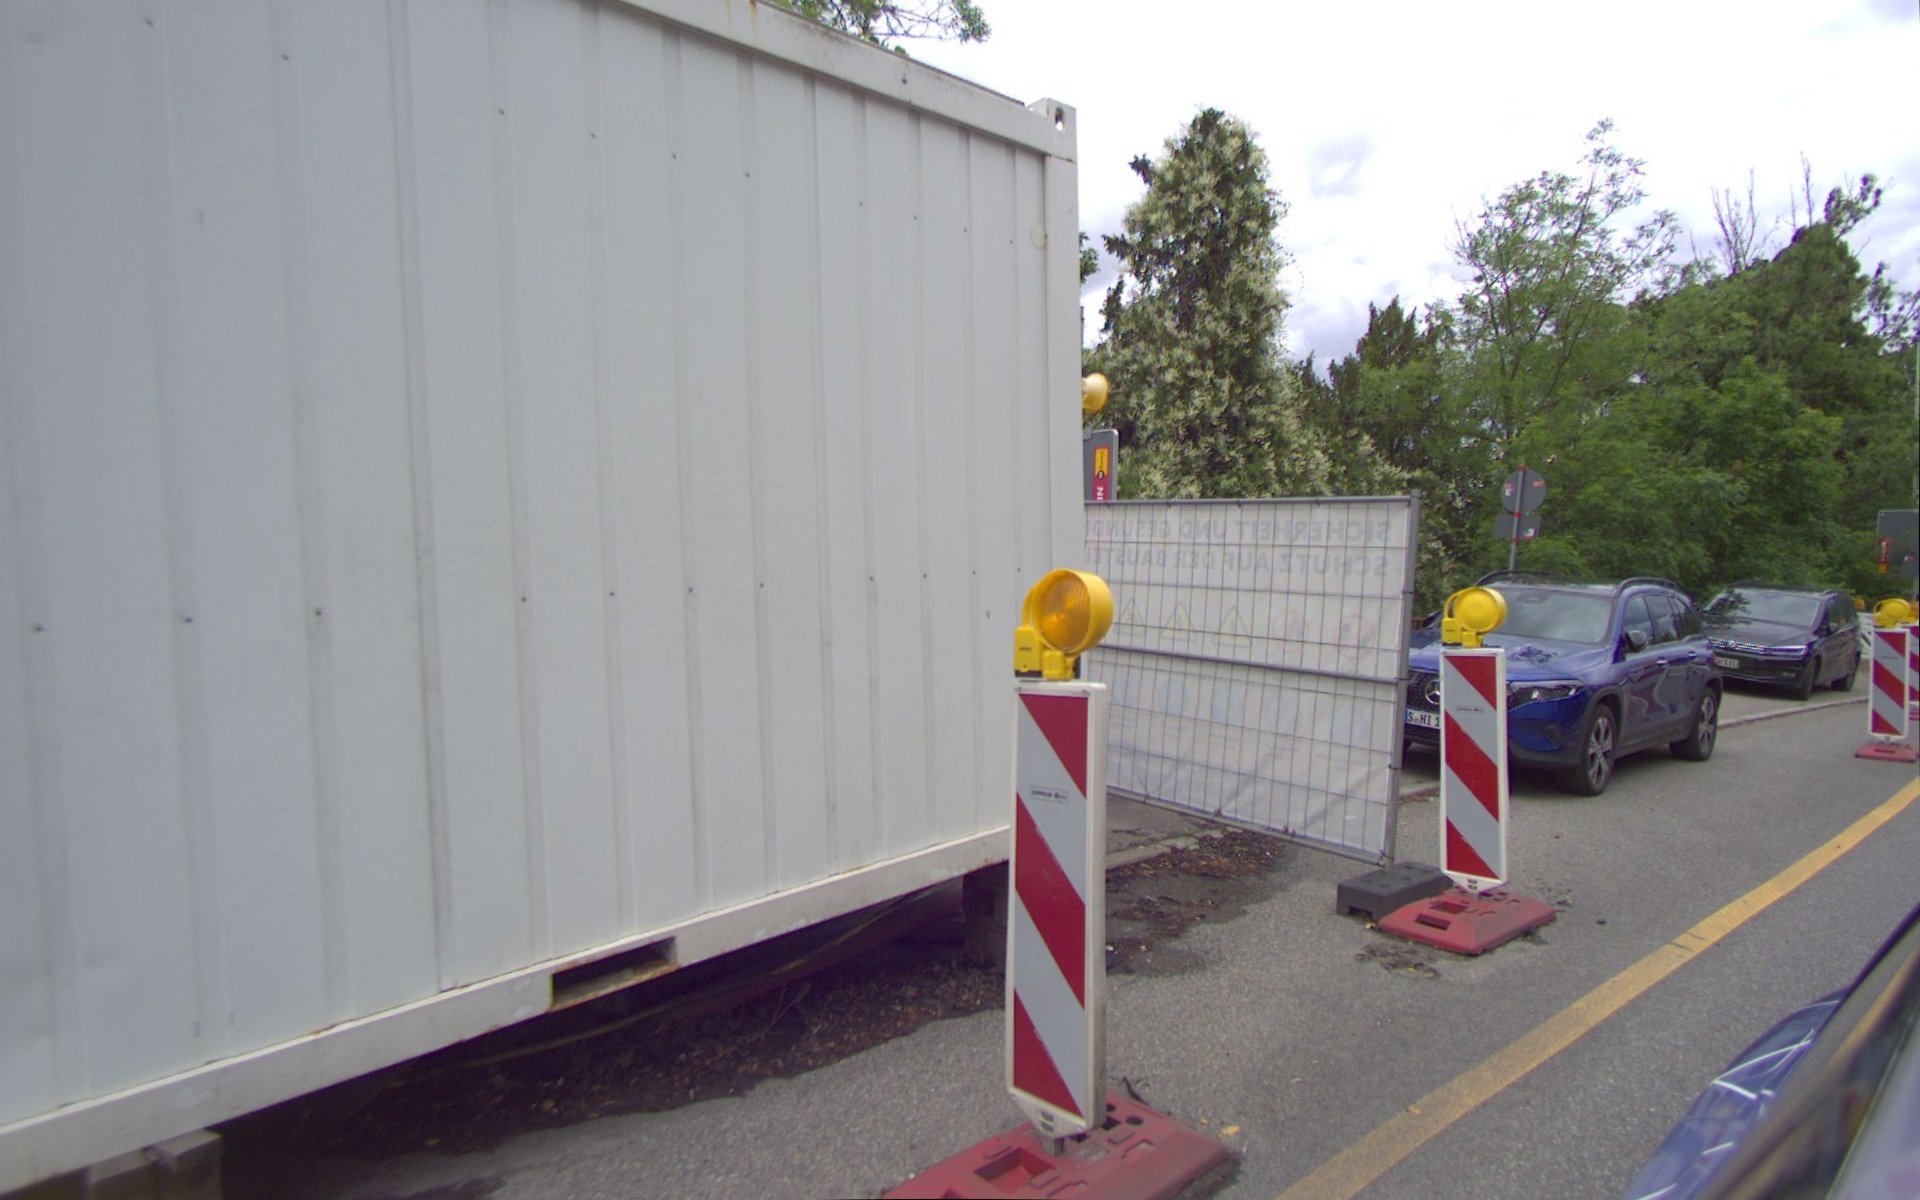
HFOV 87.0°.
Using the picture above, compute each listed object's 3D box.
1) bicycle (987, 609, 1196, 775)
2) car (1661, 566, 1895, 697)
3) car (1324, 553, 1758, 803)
[{"bbox_3d":[1.054,0.650,7.850,1.768,1.121,0.500,0,3,-40],"label":"bicycle"},{"bbox_3d":[13.331,0.421,16.406,4.562,1.693,1.868,0,6,-39],"label":"car"},{"bbox_3d":[5.369,0.501,9.107,4.421,1.662,1.845,0,4,-39],"label":"car"}]
